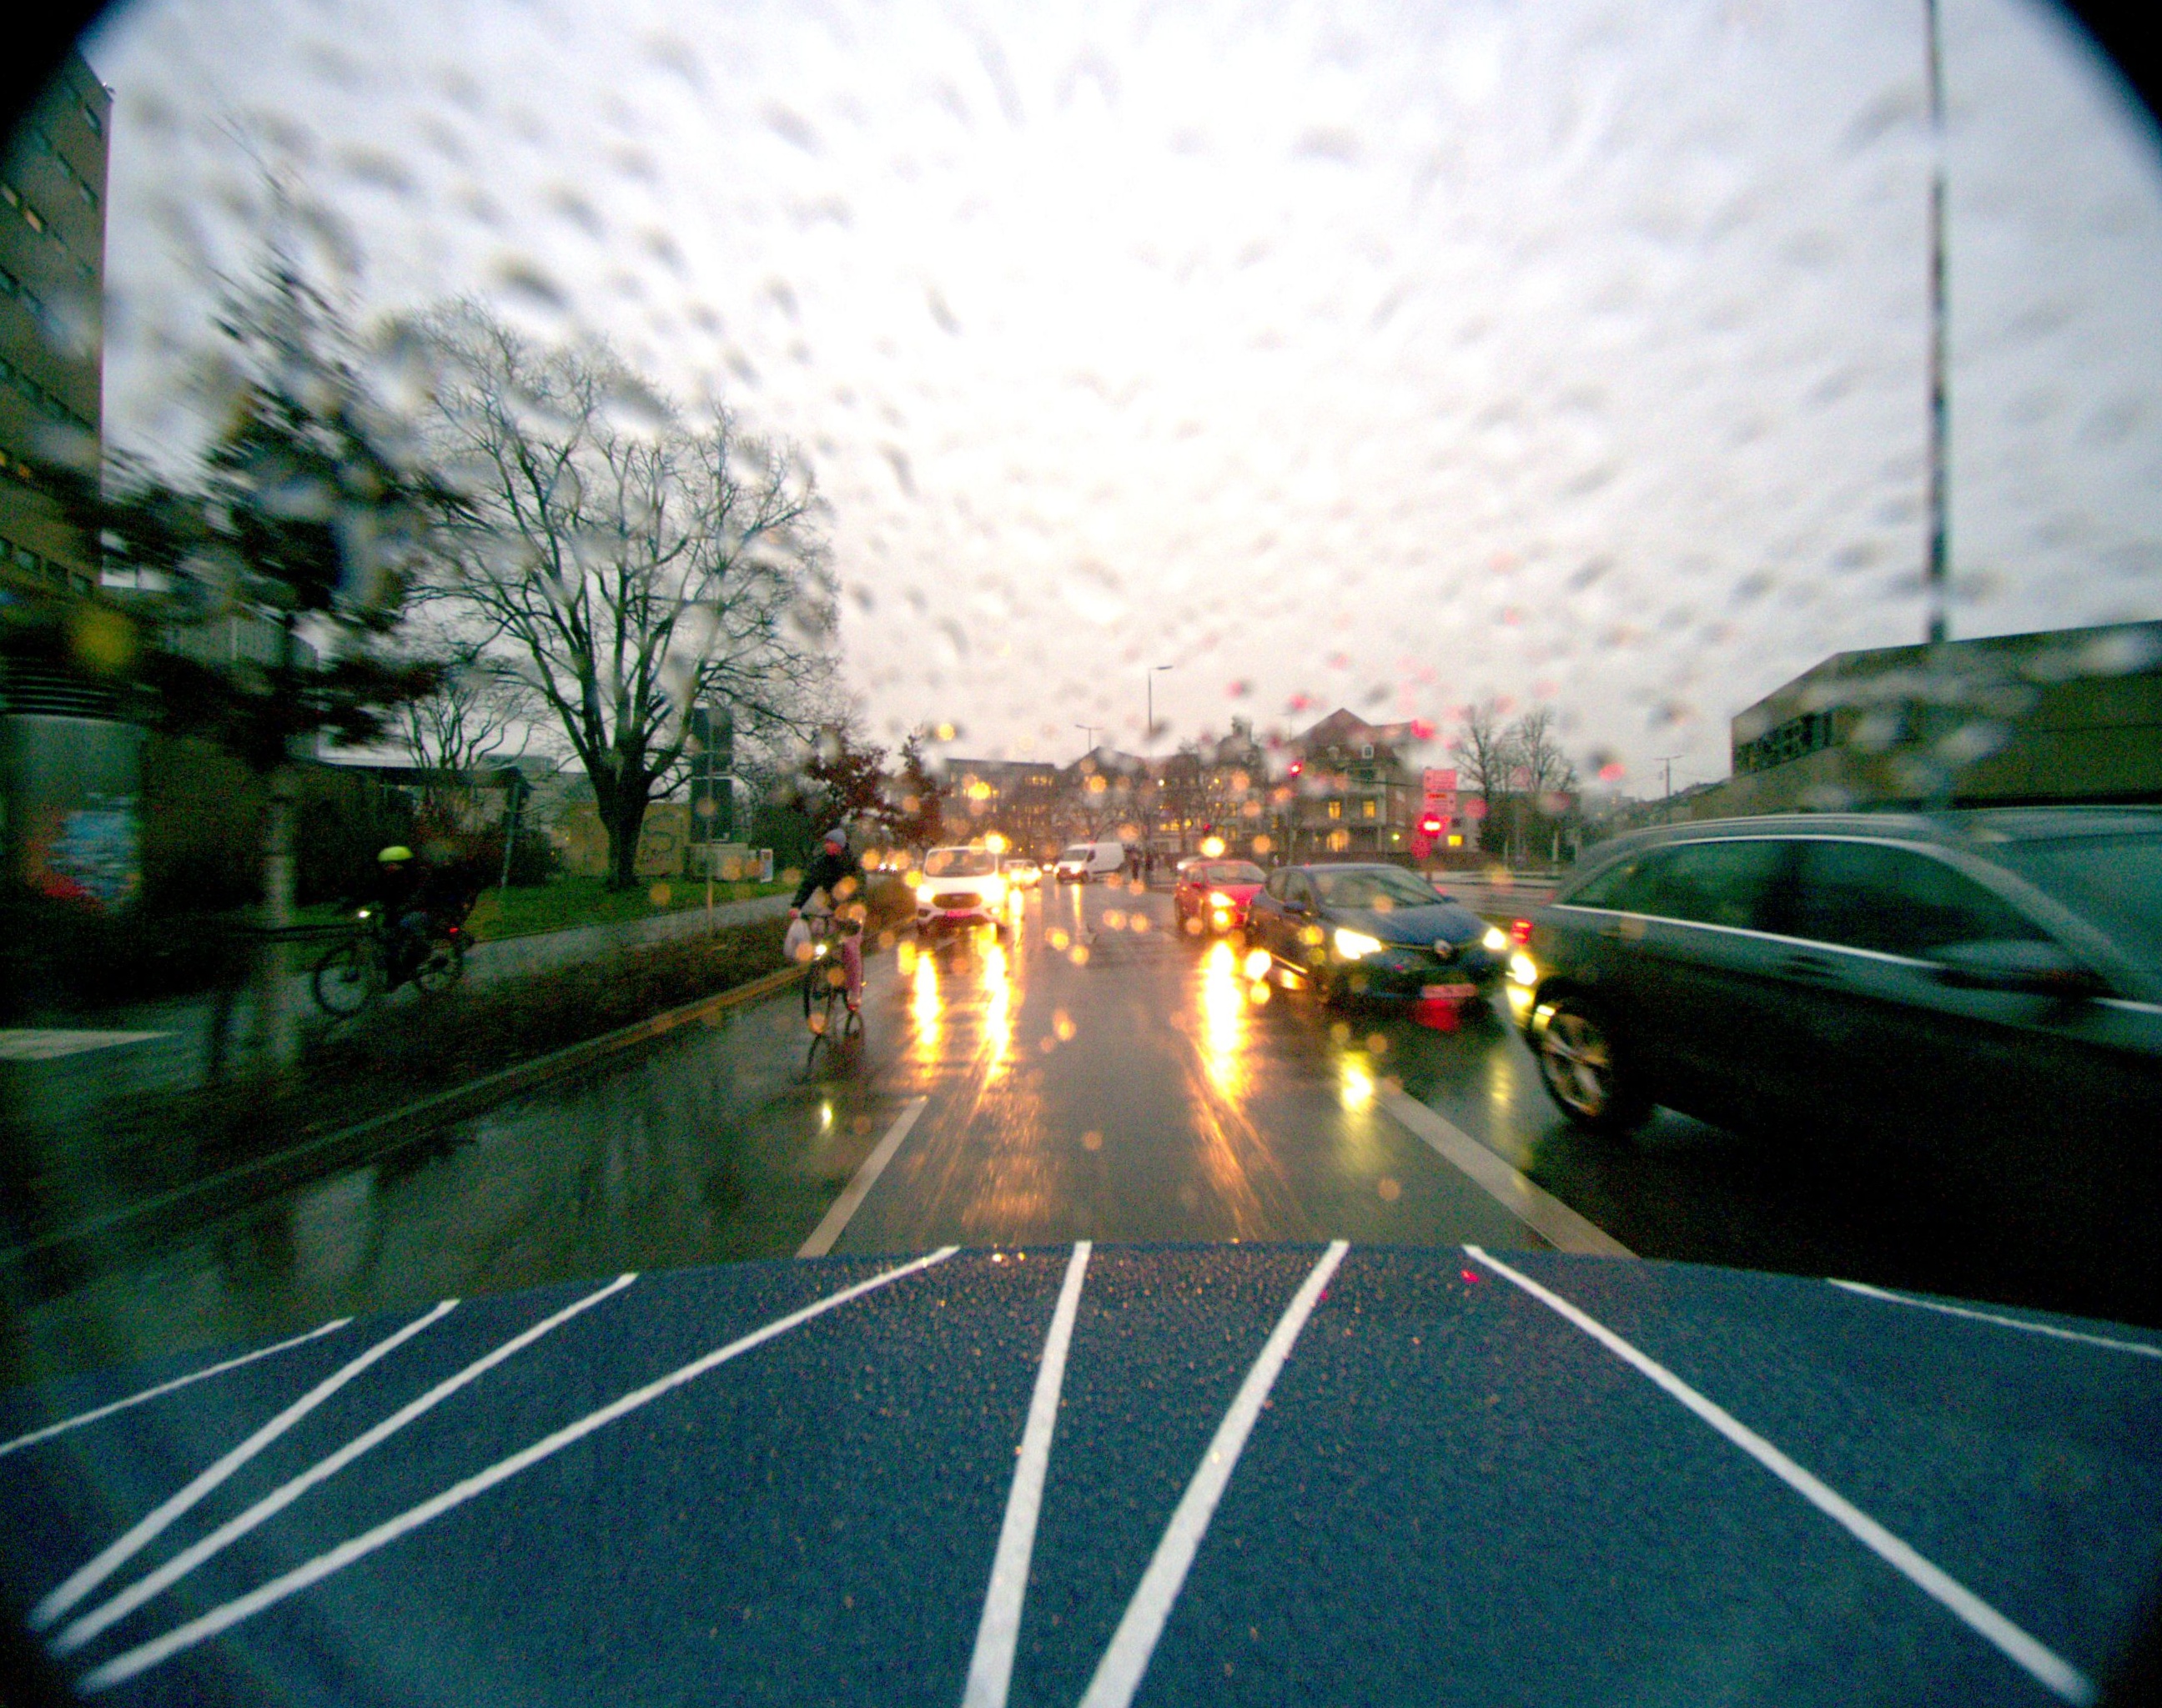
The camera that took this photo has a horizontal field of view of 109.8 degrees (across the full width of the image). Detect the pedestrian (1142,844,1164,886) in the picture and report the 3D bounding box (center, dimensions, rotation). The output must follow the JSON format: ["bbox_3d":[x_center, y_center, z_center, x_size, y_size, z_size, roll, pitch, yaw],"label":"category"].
[{"bbox_3d":[3.488,0.546,36.789,0.848,1.993,1.109,-1,-2,-6],"label":"pedestrian"}]

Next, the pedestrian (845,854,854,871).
[{"bbox_3d":[-25.857,0.944,84.838,0.934,1.815,0.832,0,1,-22],"label":"pedestrian"}]

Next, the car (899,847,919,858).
[{"bbox_3d":[-24.496,-0.204,108.348,2.002,1.558,4.752,1,0,-22],"label":"car"}]

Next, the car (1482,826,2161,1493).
[{"bbox_3d":[3.504,0.730,2.578,1.790,1.591,4.540,-3,0,-1],"label":"car"}]

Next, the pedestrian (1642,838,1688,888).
[{"bbox_3d":[22.462,0.351,29.234,1.231,1.846,1.038,-2,-2,31],"label":"pedestrian"}]

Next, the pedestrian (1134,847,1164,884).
[{"bbox_3d":[3.448,0.583,38.775,1.037,1.846,1.068,0,-2,-38],"label":"pedestrian"}]

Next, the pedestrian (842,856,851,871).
[{"bbox_3d":[-27.577,1.092,89.484,0.934,1.815,0.832,0,1,-22],"label":"pedestrian"}]

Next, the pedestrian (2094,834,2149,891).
[{"bbox_3d":[31.914,0.267,23.307,0.743,1.716,0.743,0,0,-10],"label":"pedestrian"}]

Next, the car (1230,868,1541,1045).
[{"bbox_3d":[3.103,0.937,8.758,1.664,1.396,4.118,-3,0,-4],"label":"car"}]

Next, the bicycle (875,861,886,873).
[{"bbox_3d":[-20.120,1.294,76.108,0.807,1.134,2.209,3,-1,-20],"label":"bicycle"}]

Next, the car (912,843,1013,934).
[{"bbox_3d":[-2.823,0.827,18.746,2.138,1.909,5.015,-1,-2,-7],"label":"car"}]

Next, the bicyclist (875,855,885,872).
[{"bbox_3d":[-20.155,0.947,76.206,0.807,1.608,1.084,3,0,-21],"label":"bicyclist"}]

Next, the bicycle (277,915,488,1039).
[{"bbox_3d":[-7.272,1.219,8.076,0.563,0.941,2.093,0,1,-8],"label":"bicycle"}]

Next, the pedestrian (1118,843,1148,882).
[{"bbox_3d":[2.788,0.486,40.778,1.032,2.037,1.218,-3,-3,45],"label":"pedestrian"}]

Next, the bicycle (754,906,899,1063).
[{"bbox_3d":[-2.453,1.206,7.600,0.794,1.215,1.904,-2,0,-1],"label":"bicycle"}]

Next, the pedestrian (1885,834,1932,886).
[{"bbox_3d":[27.629,0.198,25.382,0.741,1.716,0.744,0,0,8],"label":"pedestrian"}]

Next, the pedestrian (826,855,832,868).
[{"bbox_3d":[-38.199,1.085,115.298,0.767,2.002,0.771,0,1,-23],"label":"pedestrian"}]

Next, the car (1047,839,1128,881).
[{"bbox_3d":[0.512,0.452,48.728,2.342,2.502,5.881,-2,-2,34],"label":"car"}]

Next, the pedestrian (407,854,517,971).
[{"bbox_3d":[-9.371,0.854,11.553,0.810,1.678,1.070,1,1,-5],"label":"pedestrian"}]

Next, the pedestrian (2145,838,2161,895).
[{"bbox_3d":[30.795,0.358,21.251,0.854,1.593,0.967,0,0,29],"label":"pedestrian"}]

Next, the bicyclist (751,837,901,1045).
[{"bbox_3d":[-2.477,0.794,7.569,1.026,1.872,1.235,-2,1,-1],"label":"bicyclist"}]

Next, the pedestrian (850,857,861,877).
[{"bbox_3d":[-20.827,1.220,70.181,0.934,1.815,0.832,0,1,-22],"label":"pedestrian"}]

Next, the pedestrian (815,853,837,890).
[{"bbox_3d":[-11.962,0.828,35.656,0.913,1.677,0.926,1,-2,-17],"label":"pedestrian"}]

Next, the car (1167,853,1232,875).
[{"bbox_3d":[8.987,0.743,57.640,4.825,1.634,1.834,0,0,-30],"label":"car"}]

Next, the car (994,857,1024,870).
[{"bbox_3d":[-7.589,0.968,79.679,1.934,1.368,4.490,0,0,-22],"label":"car"}]

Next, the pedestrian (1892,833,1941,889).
[{"bbox_3d":[26.724,0.223,24.308,0.662,1.757,0.832,0,0,-17],"label":"pedestrian"}]

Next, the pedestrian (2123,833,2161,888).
[{"bbox_3d":[34.119,0.196,24.261,0.742,1.716,0.743,0,0,-9],"label":"pedestrian"}]

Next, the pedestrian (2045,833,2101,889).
[{"bbox_3d":[30.597,0.213,23.447,0.741,1.716,0.744,0,0,8],"label":"pedestrian"}]

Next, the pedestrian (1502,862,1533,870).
[{"bbox_3d":[51.863,1.432,90.369,3.091,0.924,0.951,-3,-3,34],"label":"pedestrian"}]

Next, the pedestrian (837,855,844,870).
[{"bbox_3d":[-30.917,1.072,97.839,0.767,2.002,0.908,0,1,-23],"label":"pedestrian"}]

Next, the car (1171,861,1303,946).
[{"bbox_3d":[3.156,0.945,16.175,1.705,1.473,3.870,-3,0,-4],"label":"car"}]

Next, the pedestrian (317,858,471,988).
[{"bbox_3d":[-7.282,0.698,8.112,0.877,1.309,0.848,0,1,-7],"label":"pedestrian"}]

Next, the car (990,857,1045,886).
[{"bbox_3d":[-3.452,0.991,42.047,1.752,1.494,4.323,-2,-2,13],"label":"car"}]
